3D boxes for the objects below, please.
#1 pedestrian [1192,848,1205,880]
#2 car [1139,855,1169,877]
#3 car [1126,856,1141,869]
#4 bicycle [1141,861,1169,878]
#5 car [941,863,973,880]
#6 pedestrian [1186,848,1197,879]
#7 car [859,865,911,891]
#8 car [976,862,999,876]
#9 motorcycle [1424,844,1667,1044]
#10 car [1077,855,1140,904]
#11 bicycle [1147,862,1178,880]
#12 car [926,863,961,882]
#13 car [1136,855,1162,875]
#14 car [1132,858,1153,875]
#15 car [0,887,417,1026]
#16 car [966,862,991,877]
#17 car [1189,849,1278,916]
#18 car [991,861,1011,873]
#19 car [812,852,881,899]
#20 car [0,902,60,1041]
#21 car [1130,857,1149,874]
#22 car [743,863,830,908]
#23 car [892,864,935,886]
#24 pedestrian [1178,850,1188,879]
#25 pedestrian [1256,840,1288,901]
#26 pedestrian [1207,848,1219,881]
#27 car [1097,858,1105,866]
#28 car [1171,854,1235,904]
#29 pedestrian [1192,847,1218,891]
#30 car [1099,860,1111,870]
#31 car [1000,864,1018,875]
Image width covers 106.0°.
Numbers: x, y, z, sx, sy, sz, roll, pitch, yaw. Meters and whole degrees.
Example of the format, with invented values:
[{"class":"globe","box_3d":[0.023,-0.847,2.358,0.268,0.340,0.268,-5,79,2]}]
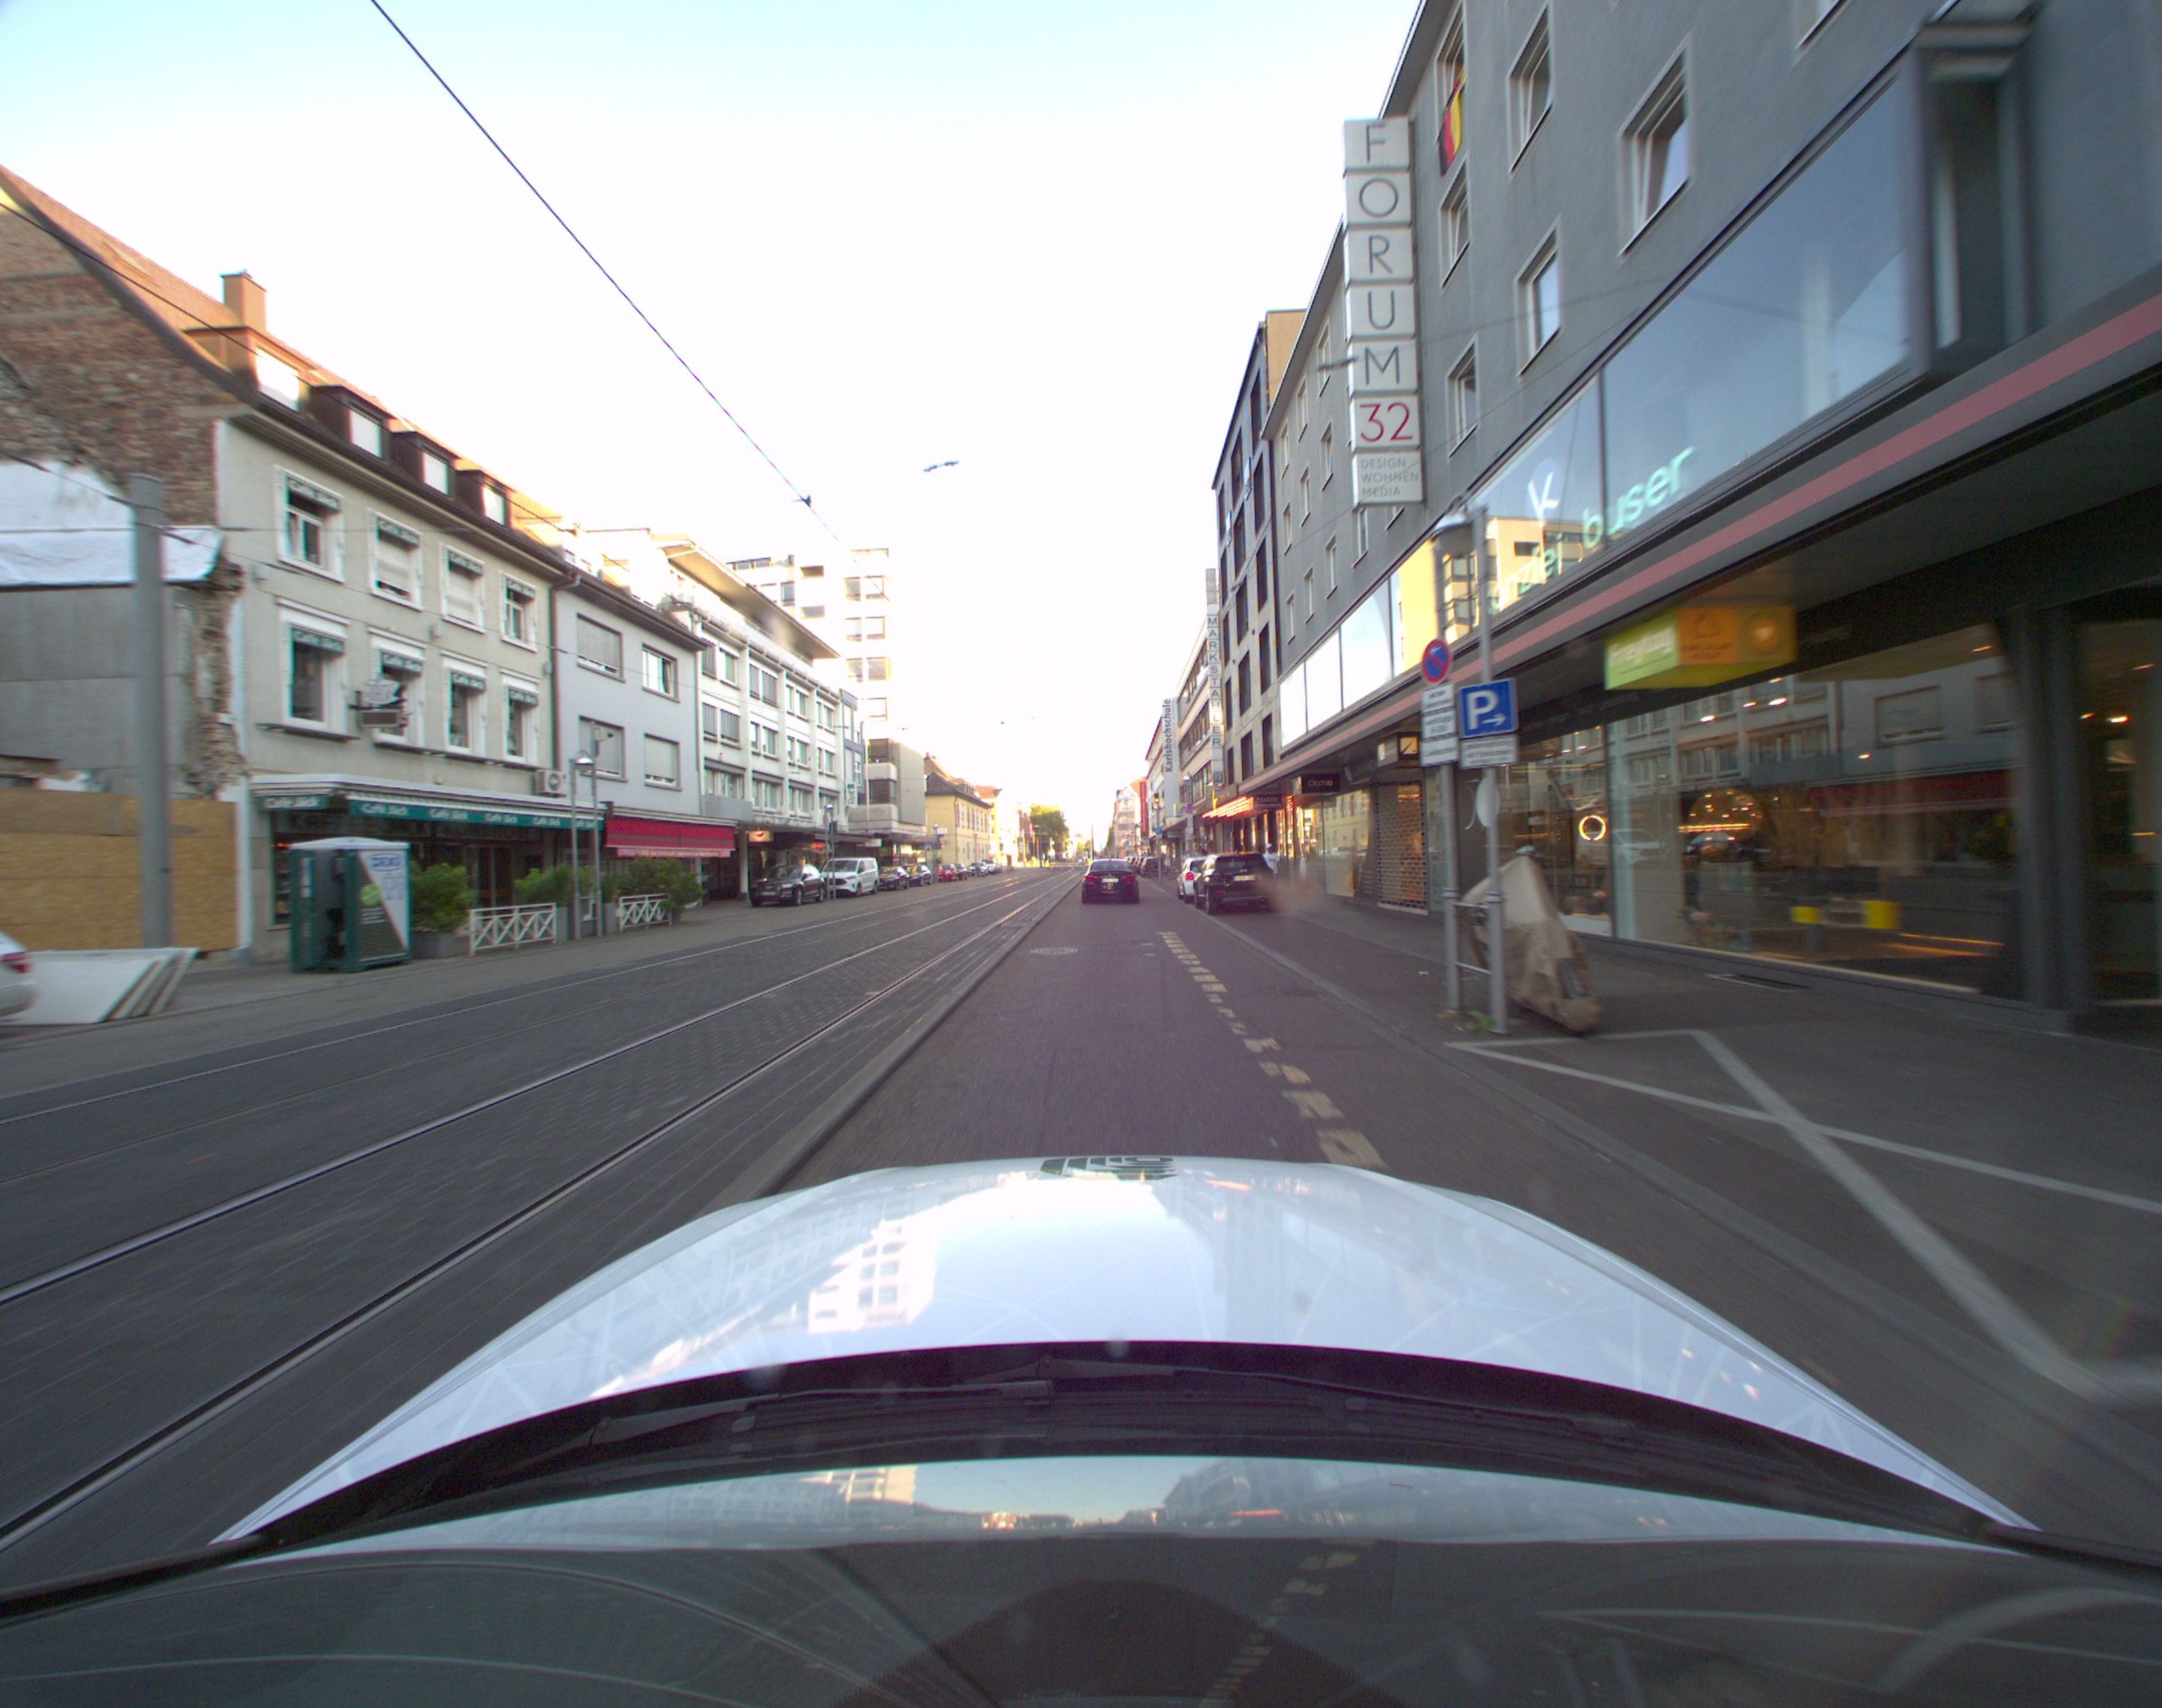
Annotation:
[{"class":"pedestrian","box_3d":[6.597,0.564,45.721,0.552,1.791,0.760,-2,-1,1]},{"class":"car","box_3d":[5.322,0.883,59.668,1.896,1.549,4.001,-1,-1,1]},{"class":"car","box_3d":[6.572,1.061,102.766,1.768,1.549,3.504,-1,-1,1]},{"class":"bicycle","box_3d":[5.122,1.071,56.461,1.854,1.119,0.469,-1,-2,2]},{"class":"car","box_3d":[-10.727,1.505,70.772,1.921,1.435,4.247,-1,0,2]},{"class":"pedestrian","box_3d":[6.474,0.545,47.737,0.486,1.790,0.761,-2,-1,5]},{"class":"car","box_3d":[-11.659,1.417,48.786,1.921,1.435,4.247,-1,0,2]},{"class":"car","box_3d":[-10.346,1.670,90.276,1.921,1.435,4.247,-1,0,2]},{"class":"motorcycle","box_3d":[3.891,0.674,7.112,0.841,1.419,2.165,-4,-1,2]},{"class":"car","box_3d":[1.004,0.851,27.982,1.945,1.498,4.468,-2,-1,3]},{"class":"bicycle","box_3d":[5.055,1.034,50.690,1.854,1.080,0.469,-1,-2,2]},{"class":"car","box_3d":[-11.060,1.444,65.686,1.921,1.435,4.247,-1,0,2]},{"class":"car","box_3d":[5.573,0.954,66.686,1.896,1.549,3.781,-1,-1,1]},{"class":"car","box_3d":[5.721,1.168,76.045,1.768,1.549,3.504,-1,-1,1]},{"class":"car","box_3d":[-12.454,1.307,11.781,1.985,1.453,4.332,-1,0,3]},{"class":"car","box_3d":[-10.569,1.563,84.099,1.921,1.435,4.247,-2,0,2]},{"class":"car","box_3d":[3.971,0.700,21.783,1.648,1.537,3.886,-3,0,1]},{"class":"car","box_3d":[-10.229,1.618,104.471,1.921,1.435,4.247,-1,0,2]},{"class":"car","box_3d":[-11.796,1.042,41.345,1.987,2.156,4.910,-2,0,0]},{"class":"car","box_3d":[-12.617,1.280,6.792,1.985,1.453,4.825,-1,0,3]},{"class":"car","box_3d":[5.833,1.147,81.382,1.768,1.549,3.504,-1,-1,1]},{"class":"car","box_3d":[-12.047,1.238,33.662,1.853,1.678,4.466,-1,0,2]},{"class":"car","box_3d":[-11.417,1.417,55.857,1.921,1.435,4.247,-1,0,2]},{"class":"pedestrian","box_3d":[5.994,0.610,47.770,0.473,1.699,0.753,-2,-1,5]},{"class":"pedestrian","box_3d":[5.669,0.492,24.201,0.686,1.740,0.821,-4,-1,3]},{"class":"pedestrian","box_3d":[7.372,0.561,45.380,0.506,1.792,0.760,-2,-1,2]},{"class":"car","box_3d":[5.358,2.233,219.511,1.986,1.838,4.000,-1,-3,1]},{"class":"car","box_3d":[3.941,0.778,26.902,1.554,1.442,3.710,-4,0,1]},{"class":"pedestrian","box_3d":[4.704,0.575,30.827,0.561,1.647,0.752,-2,-1,-33]},{"class":"car","box_3d":[3.775,1.741,127.368,1.768,1.549,3.504,-1,-1,1]},{"class":"car","box_3d":[-10.027,2.134,113.670,1.921,1.435,4.247,-1,0,2]}]
